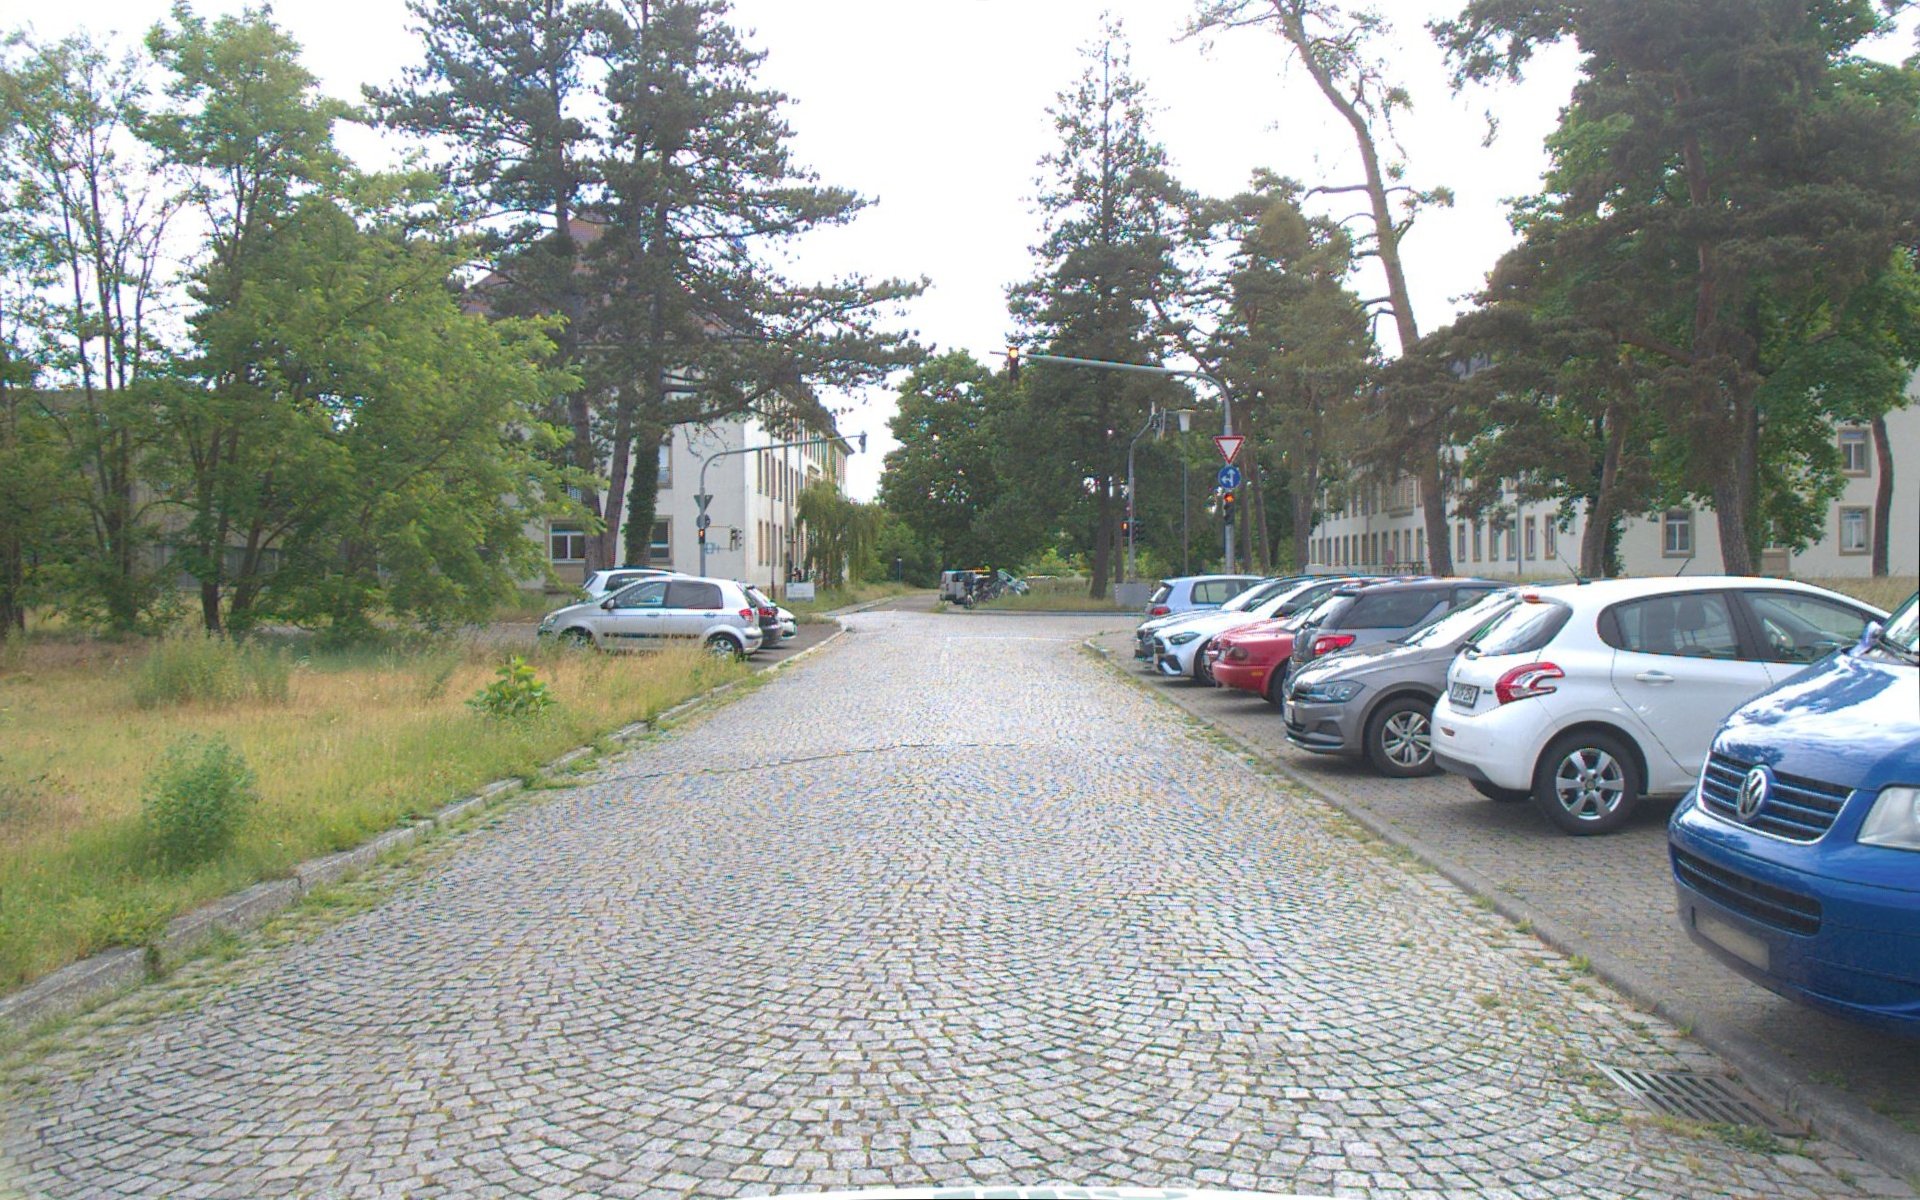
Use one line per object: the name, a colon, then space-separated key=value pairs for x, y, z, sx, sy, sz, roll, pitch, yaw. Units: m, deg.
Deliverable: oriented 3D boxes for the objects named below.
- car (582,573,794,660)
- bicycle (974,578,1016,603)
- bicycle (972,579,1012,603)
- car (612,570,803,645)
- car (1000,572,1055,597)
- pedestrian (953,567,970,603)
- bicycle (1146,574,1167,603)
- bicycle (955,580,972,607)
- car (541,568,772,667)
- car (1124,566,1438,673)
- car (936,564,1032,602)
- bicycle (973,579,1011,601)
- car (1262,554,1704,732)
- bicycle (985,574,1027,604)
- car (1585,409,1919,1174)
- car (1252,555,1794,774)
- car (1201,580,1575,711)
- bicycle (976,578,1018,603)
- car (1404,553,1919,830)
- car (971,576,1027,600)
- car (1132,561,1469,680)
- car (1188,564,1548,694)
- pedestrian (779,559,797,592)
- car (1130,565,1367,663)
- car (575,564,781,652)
car: x=-4.995 y=0.288 z=30.688 sx=3.671 sy=1.453 sz=1.582 roll=2 pitch=1 yaw=-3
bicycle: x=1.664 y=-0.446 z=78.384 sx=1.918 sy=1.136 sz=0.587 roll=-1 pitch=1 yaw=-7
bicycle: x=1.562 y=-0.442 z=79.868 sx=1.934 sy=1.088 sz=0.582 roll=-1 pitch=1 yaw=-30
car: x=-5.451 y=0.145 z=36.008 sx=3.867 sy=1.446 sz=1.650 roll=2 pitch=1 yaw=-1
car: x=4.057 y=-0.961 z=99.718 sx=3.167 sy=1.441 sz=1.724 roll=-1 pitch=1 yaw=-3
pedestrian: x=0.076 y=-0.697 z=77.397 sx=0.724 sy=1.646 sz=0.776 roll=-1 pitch=1 yaw=-4
bicycle: x=7.783 y=-0.480 z=65.649 sx=0.574 sy=1.125 sz=1.961 roll=-1 pitch=1 yaw=0
bicycle: x=0.148 y=-0.297 z=74.553 sx=0.591 sy=1.152 sz=1.959 roll=-1 pitch=1 yaw=-5
car: x=-5.093 y=0.274 z=28.089 sx=3.629 sy=1.505 sz=1.582 roll=2 pitch=1 yaw=-3
car: x=5.059 y=0.283 z=26.462 sx=4.587 sy=1.441 sz=1.870 roll=-3 pitch=1 yaw=-2
car: x=1.374 y=-0.994 z=95.832 sx=5.262 sy=1.958 sz=2.021 roll=-2 pitch=1 yaw=-9
bicycle: x=1.637 y=-0.527 z=84.904 sx=1.930 sy=1.088 sz=0.583 roll=-1 pitch=1 yaw=-25
car: x=5.076 y=0.387 z=16.395 sx=3.784 sy=1.497 sz=1.758 roll=-2 pitch=1 yaw=-1
bicycle: x=2.195 y=-0.545 z=79.215 sx=1.918 sy=1.408 sz=0.587 roll=-1 pitch=1 yaw=-7
car: x=4.776 y=0.379 z=5.337 sx=4.710 sy=1.979 sz=2.003 roll=-2 pitch=1 yaw=-1
car: x=4.484 y=0.472 z=13.523 sx=3.786 sy=1.497 sz=1.757 roll=-3 pitch=1 yaw=-4
car: x=4.808 y=0.485 z=18.926 sx=3.784 sy=1.257 sz=1.758 roll=-2 pitch=1 yaw=-1
bicycle: x=1.726 y=-0.461 z=77.751 sx=1.918 sy=1.152 sz=0.587 roll=-1 pitch=1 yaw=-7
car: x=5.025 y=0.511 z=10.689 sx=3.784 sy=1.497 sz=1.758 roll=-2 pitch=1 yaw=-1
car: x=2.155 y=-0.672 z=92.463 sx=2.947 sy=1.290 sz=1.533 roll=-1 pitch=1 yaw=-6
car: x=4.841 y=0.261 z=23.774 sx=4.340 sy=1.441 sz=1.867 roll=-3 pitch=1 yaw=-9
car: x=5.203 y=0.343 z=21.507 sx=4.175 sy=1.441 sz=1.871 roll=-2 pitch=1 yaw=0
pedestrian: x=-9.705 y=-1.373 z=93.462 sx=0.766 sy=1.869 sz=0.733 roll=-1 pitch=1 yaw=-31
car: x=4.987 y=0.217 z=28.913 sx=3.846 sy=1.503 sz=1.643 roll=-2 pitch=1 yaw=1
car: x=-5.649 y=0.143 z=33.465 sx=3.869 sy=1.590 sz=1.649 roll=2 pitch=1 yaw=-3
